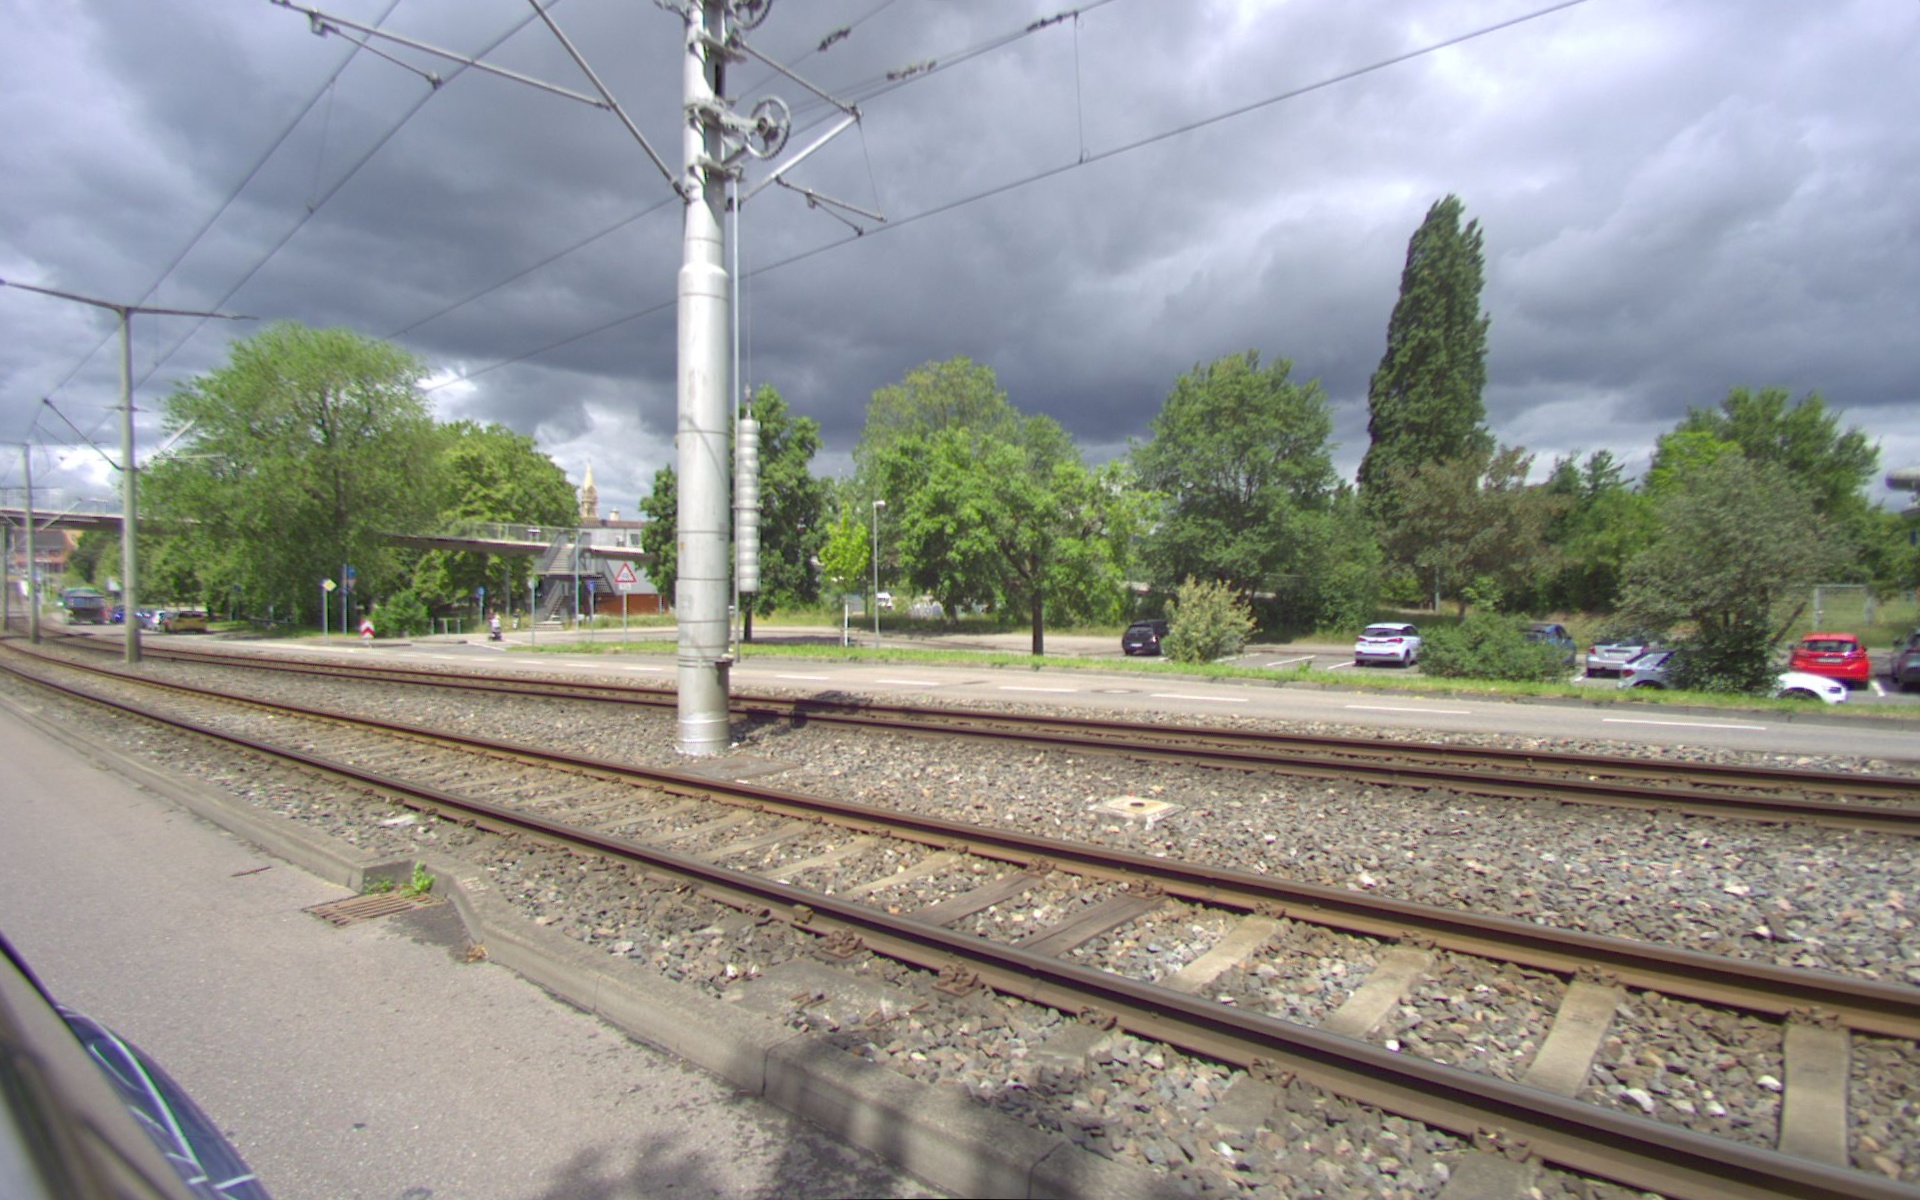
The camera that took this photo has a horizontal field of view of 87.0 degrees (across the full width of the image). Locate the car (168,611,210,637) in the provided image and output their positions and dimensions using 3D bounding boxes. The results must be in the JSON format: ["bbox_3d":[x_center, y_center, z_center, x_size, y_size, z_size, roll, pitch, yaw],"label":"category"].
[{"bbox_3d":[-49.536,1.518,65.016,1.669,1.461,3.902,-3,4,-44],"label":"car"}]

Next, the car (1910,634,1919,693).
[{"bbox_3d":[26.271,1.612,26.339,4.034,1.261,1.998,-3,1,-44],"label":"car"}]

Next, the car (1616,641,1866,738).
[{"bbox_3d":[16.666,1.835,21.775,4.065,1.768,1.970,-2,1,40],"label":"car"}]

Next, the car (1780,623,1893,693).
[{"bbox_3d":[24.462,1.548,28.200,3.908,1.592,1.998,-3,1,-44],"label":"car"}]

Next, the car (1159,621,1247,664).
[{"bbox_3d":[9.791,1.669,40.658,3.823,1.401,1.576,-3,3,-42],"label":"car"}]

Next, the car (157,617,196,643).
[{"bbox_3d":[-52.726,2.007,68.077,1.669,1.461,3.902,-3,4,-44],"label":"car"}]

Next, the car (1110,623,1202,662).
[{"bbox_3d":[8.245,1.745,42.371,3.917,1.286,1.780,-3,3,-42],"label":"car"}]

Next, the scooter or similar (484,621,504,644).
[{"bbox_3d":[-24.175,1.681,52.458,0.702,1.155,0.788,-3,3,-43],"label":"scooter or similar"}]

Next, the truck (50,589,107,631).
[{"bbox_3d":[-76.214,0.781,87.405,9.033,3.344,2.840,1,3,44],"label":"truck"}]

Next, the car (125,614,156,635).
[{"bbox_3d":[-64.808,1.897,80.015,1.539,1.608,4.163,1,-1,-44],"label":"car"}]

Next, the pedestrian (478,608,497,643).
[{"bbox_3d":[-24.867,1.320,53.267,0.653,1.768,0.718,-3,3,-44],"label":"pedestrian"}]

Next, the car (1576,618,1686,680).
[{"bbox_3d":[20.879,1.471,31.444,3.908,1.592,1.995,-3,1,-44],"label":"car"}]

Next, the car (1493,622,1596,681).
[{"bbox_3d":[19.274,1.648,33.318,3.908,1.592,1.871,-3,1,-44],"label":"car"}]

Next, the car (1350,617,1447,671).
[{"bbox_3d":[15.590,1.515,35.878,1.843,1.592,3.872,-2,1,45],"label":"car"}]
